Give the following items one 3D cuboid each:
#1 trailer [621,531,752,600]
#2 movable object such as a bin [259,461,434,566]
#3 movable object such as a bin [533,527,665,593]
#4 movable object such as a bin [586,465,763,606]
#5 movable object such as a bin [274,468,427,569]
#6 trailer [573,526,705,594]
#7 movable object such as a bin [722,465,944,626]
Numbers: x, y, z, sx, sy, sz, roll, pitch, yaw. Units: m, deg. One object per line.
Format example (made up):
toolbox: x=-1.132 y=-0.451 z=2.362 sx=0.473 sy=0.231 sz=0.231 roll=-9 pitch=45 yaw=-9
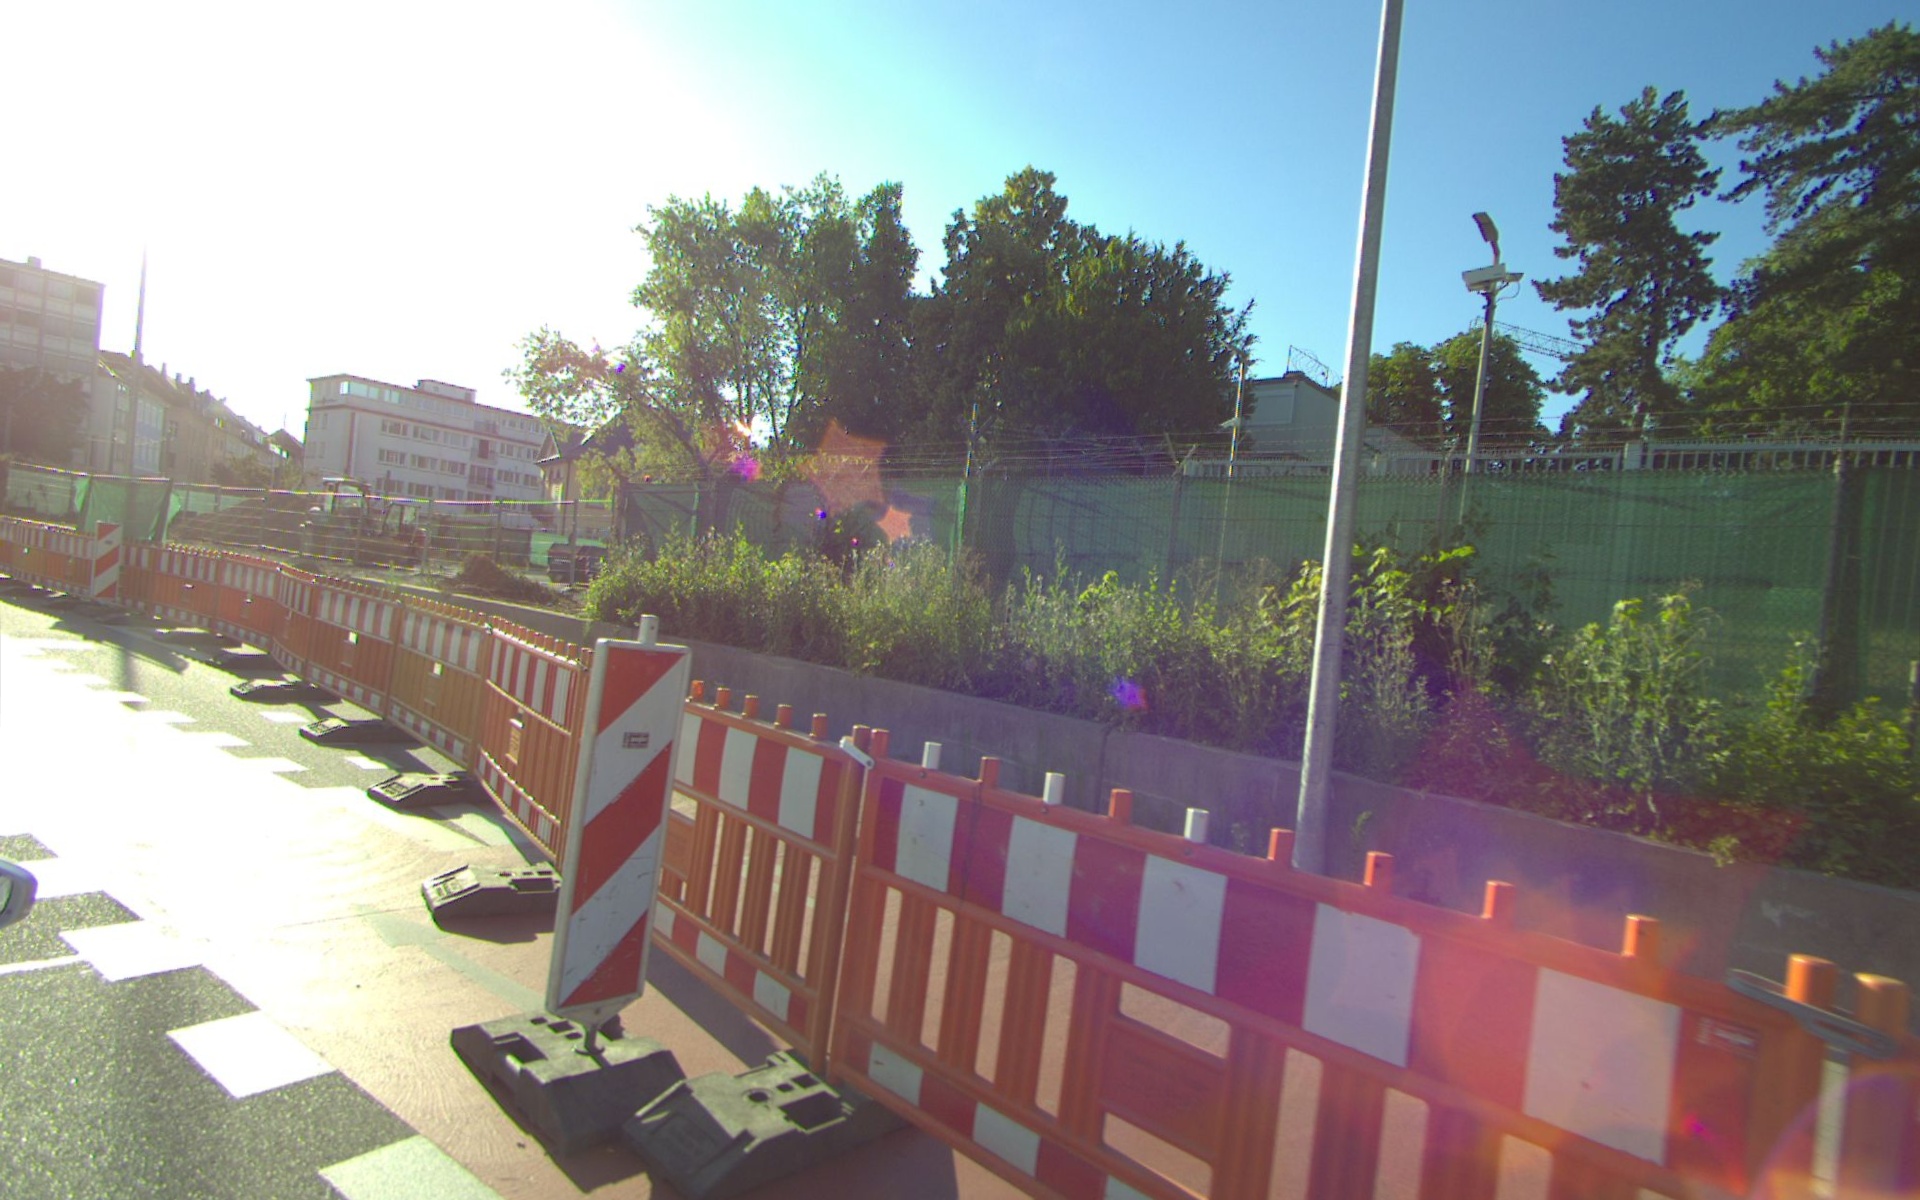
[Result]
trailer: x=-11.020 y=-1.324 z=40.942 sx=2.188 sy=2.350 sz=5.035 roll=1 pitch=-2 yaw=30
movable object such as a bin: x=-26.361 y=-3.634 z=43.505 sx=6.015 sy=3.603 sz=2.838 roll=6 pitch=1 yaw=-31
movable object such as a bin: x=-15.322 y=-1.627 z=42.960 sx=2.188 sy=2.350 sz=5.035 roll=1 pitch=-2 yaw=30
movable object such as a bin: x=-6.821 y=-1.566 z=23.883 sx=3.944 sy=2.941 sz=1.990 roll=7 pitch=1 yaw=41
movable object such as a bin: x=-19.868 y=-2.662 z=32.741 sx=4.863 sy=2.738 sz=2.276 roll=7 pitch=1 yaw=34
trailer: x=-13.244 y=-1.580 z=41.865 sx=2.188 sy=2.350 sz=5.035 roll=1 pitch=-2 yaw=30
movable object such as a bin: x=-3.381 y=-1.477 z=26.031 sx=5.418 sy=3.603 sz=2.273 roll=7 pitch=1 yaw=39
